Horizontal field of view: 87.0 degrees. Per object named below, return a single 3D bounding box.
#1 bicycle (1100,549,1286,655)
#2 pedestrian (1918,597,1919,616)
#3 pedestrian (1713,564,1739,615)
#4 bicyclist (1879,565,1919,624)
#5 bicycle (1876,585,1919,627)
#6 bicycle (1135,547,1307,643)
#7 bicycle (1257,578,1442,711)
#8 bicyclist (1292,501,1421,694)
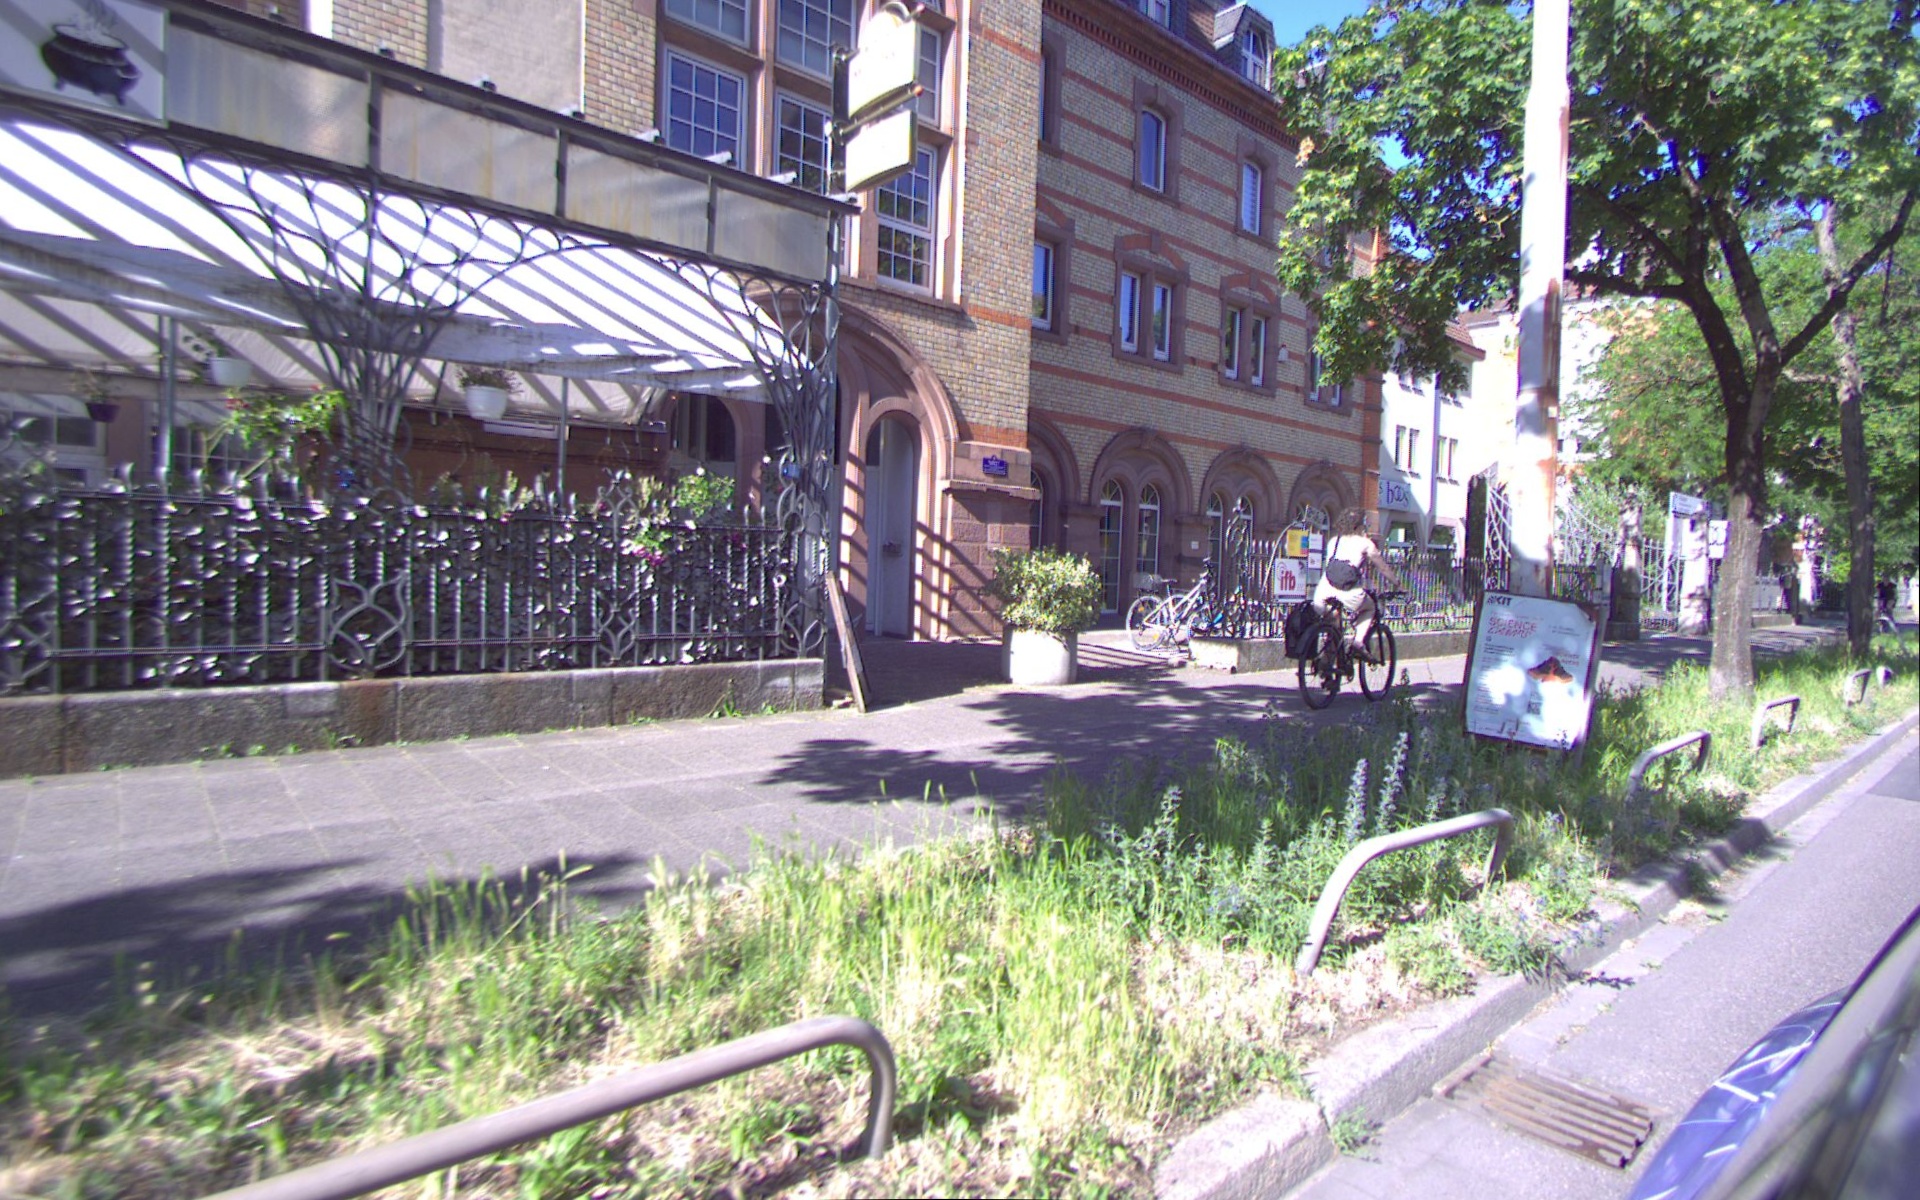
[{"bbox_3d":[2.836,-0.025,12.527,2.196,1.193,0.676,3,3,44],"label":"bicycle"},{"bbox_3d":[41.201,-0.177,42.828,0.796,1.808,0.749,0,5,-41],"label":"pedestrian"},{"bbox_3d":[27.289,-0.379,36.047,0.527,1.800,0.539,3,3,23],"label":"pedestrian"},{"bbox_3d":[28.166,-0.173,30.361,0.873,1.715,0.647,1,5,-41],"label":"bicyclist"},{"bbox_3d":[28.140,0.170,30.375,1.811,1.190,0.654,0,5,-41],"label":"bicycle"},{"bbox_3d":[3.466,-0.110,13.616,2.196,1.193,0.676,3,3,44],"label":"bicycle"},{"bbox_3d":[3.532,0.337,9.076,2.060,1.040,0.686,-2,3,-42],"label":"bicycle"},{"bbox_3d":[3.546,-0.045,9.048,0.939,1.618,0.701,-1,3,-42],"label":"bicyclist"}]
